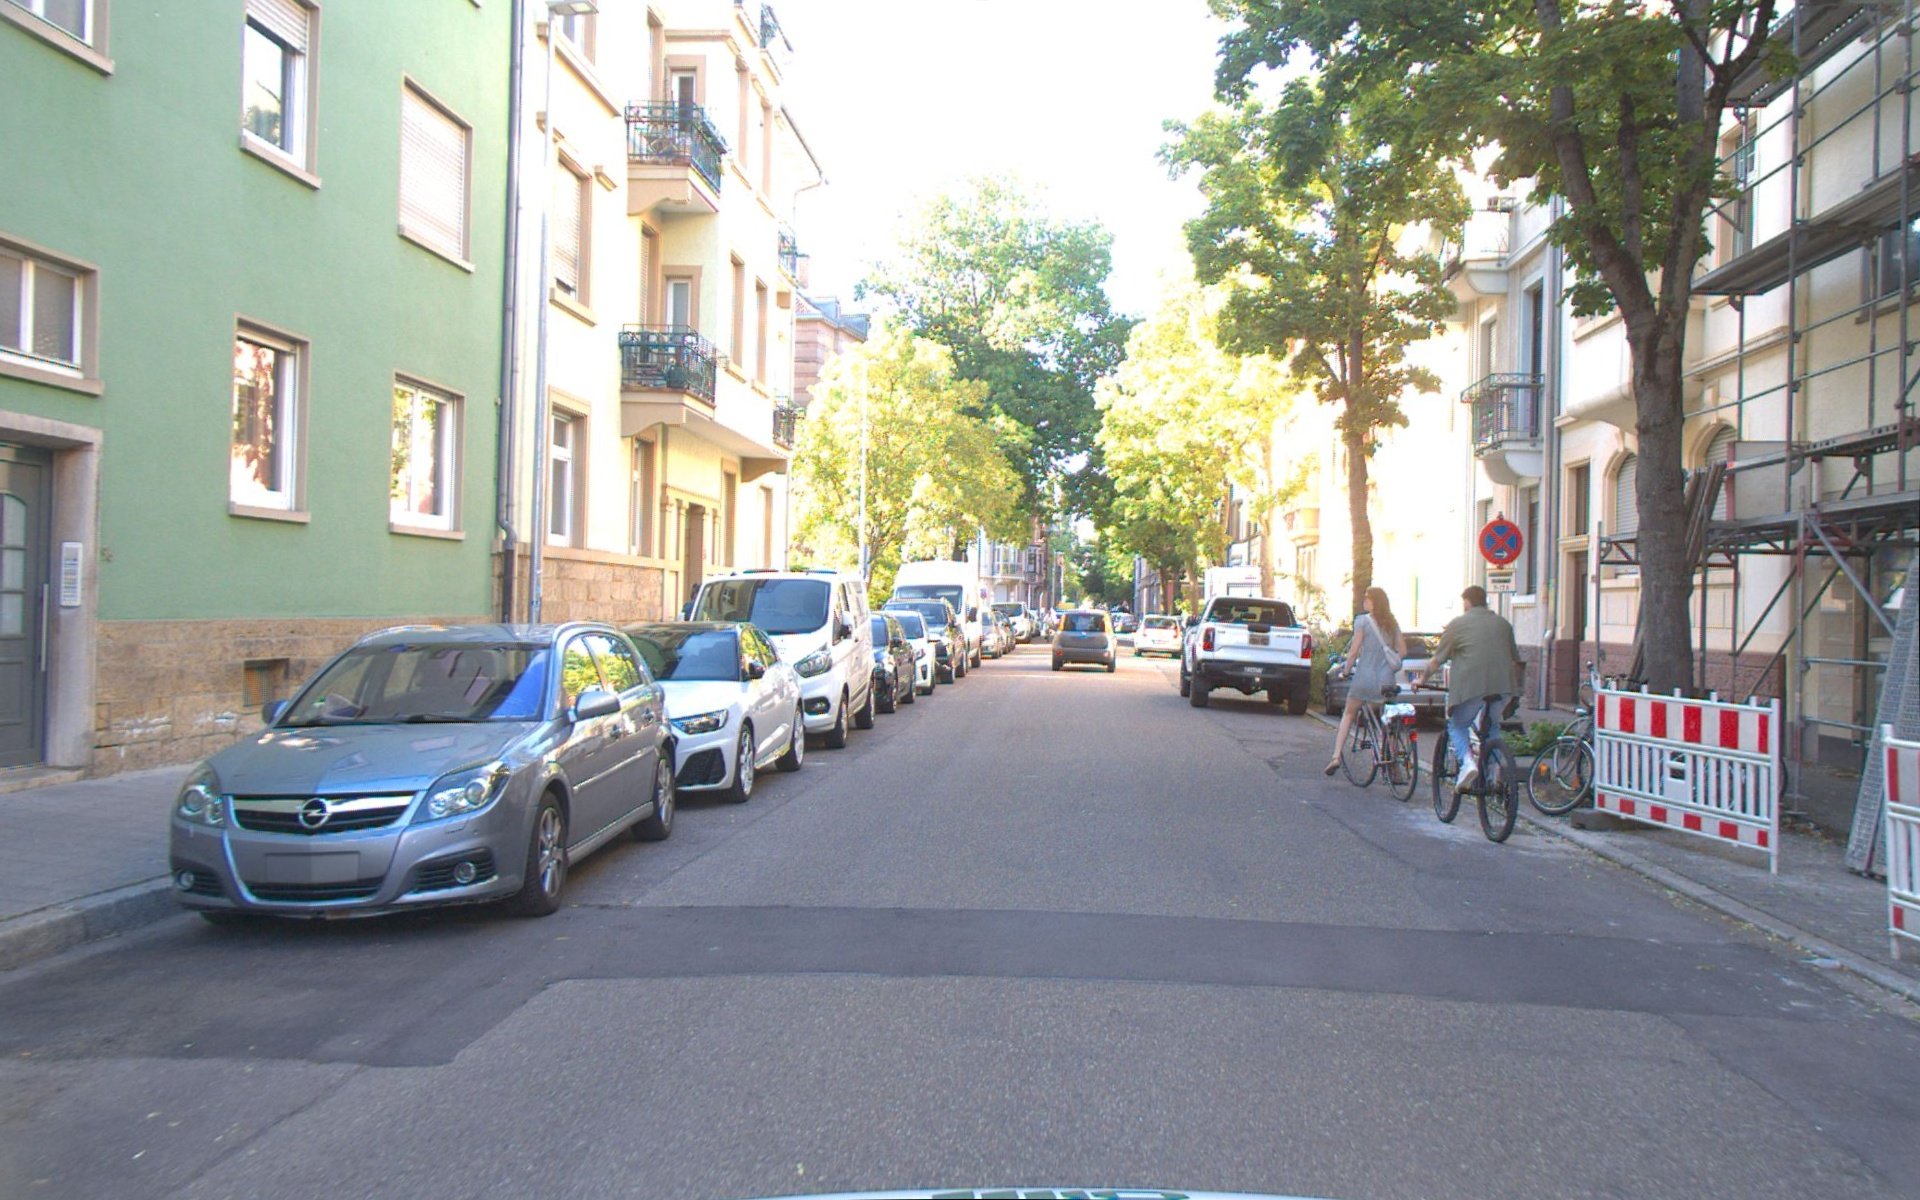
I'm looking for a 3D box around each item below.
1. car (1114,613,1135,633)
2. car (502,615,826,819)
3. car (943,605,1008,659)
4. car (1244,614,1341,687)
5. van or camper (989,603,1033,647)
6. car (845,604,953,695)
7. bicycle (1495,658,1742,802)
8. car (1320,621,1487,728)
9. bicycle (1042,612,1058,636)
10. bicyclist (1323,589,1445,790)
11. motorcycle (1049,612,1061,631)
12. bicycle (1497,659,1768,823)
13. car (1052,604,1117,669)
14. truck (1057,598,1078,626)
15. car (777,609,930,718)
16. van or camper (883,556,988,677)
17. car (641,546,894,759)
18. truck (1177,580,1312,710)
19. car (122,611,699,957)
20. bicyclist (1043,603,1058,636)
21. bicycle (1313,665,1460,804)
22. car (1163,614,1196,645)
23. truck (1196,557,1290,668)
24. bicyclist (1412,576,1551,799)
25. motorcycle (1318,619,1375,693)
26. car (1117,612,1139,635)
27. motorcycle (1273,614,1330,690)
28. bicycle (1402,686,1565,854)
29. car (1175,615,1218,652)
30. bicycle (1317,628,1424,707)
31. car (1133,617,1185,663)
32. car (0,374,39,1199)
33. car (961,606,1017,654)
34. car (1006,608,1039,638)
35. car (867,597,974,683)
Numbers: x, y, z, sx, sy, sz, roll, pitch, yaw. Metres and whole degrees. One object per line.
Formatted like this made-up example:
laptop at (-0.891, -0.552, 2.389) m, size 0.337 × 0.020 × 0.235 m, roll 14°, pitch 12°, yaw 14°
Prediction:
car at (13.273, 1.851, 133.401) m, size 1.628 × 1.531 × 3.759 m, roll 2°, pitch 0°, yaw 6°
car at (-2.395, 0.895, 14.550) m, size 1.794 × 1.488 × 4.365 m, roll -1°, pitch -1°, yaw 3°
car at (0.531, 0.998, 52.593) m, size 1.743 × 1.618 × 4.471 m, roll -1°, pitch 0°, yaw 4°
car at (7.597, 1.118, 38.115) m, size 1.714 × 1.556 × 4.784 m, roll 0°, pitch 0°, yaw 6°
van or camper at (2.473, 1.190, 79.573) m, size 1.881 × 2.014 × 5.464 m, roll -2°, pitch -1°, yaw 4°
car at (-1.080, 0.900, 30.955) m, size 1.601 × 1.579 × 4.090 m, roll 0°, pitch -1°, yaw 4°
bicycle at (5.819, 1.130, 14.728) m, size 1.934 × 1.141 × 0.748 m, roll 2°, pitch 0°, yaw 15°
car at (6.605, 1.057, 25.058) m, size 1.645 × 1.447 × 4.432 m, roll 0°, pitch 0°, yaw 4°
bicycle at (4.442, 1.178, 81.395) m, size 0.651 × 1.095 × 1.686 m, roll 4°, pitch 0°, yaw 4°
bicyclist at (3.819, 0.786, 14.957) m, size 0.700 × 1.718 × 0.980 m, roll 4°, pitch -1°, yaw -4°
motorcycle at (7.365, 1.669, 128.530) m, size 0.683 × 1.486 × 1.749 m, roll 0°, pitch 0°, yaw -5°
bicycle at (5.391, 1.089, 13.306) m, size 1.890 × 1.141 × 0.745 m, roll 2°, pitch 0°, yaw 34°
car at (3.174, 0.898, 42.186) m, size 1.598 × 1.577 × 3.266 m, roll 0°, pitch 0°, yaw 4°
truck at (12.017, 1.331, 184.288) m, size 2.027 × 2.977 × 5.071 m, roll -3°, pitch -1°, yaw 5°
car at (-1.580, 0.924, 26.220) m, size 1.729 × 1.548 × 4.827 m, roll 0°, pitch 0°, yaw 5°
van or camper at (-0.536, 0.404, 41.796) m, size 2.083 × 2.818 × 5.854 m, roll -1°, pitch 0°, yaw 4°
car at (-2.154, 0.584, 20.194) m, size 2.204 × 2.206 × 5.245 m, roll -1°, pitch -1°, yaw 3°
truck at (4.859, 0.723, 28.880) m, size 1.790 × 1.983 × 5.544 m, roll 2°, pitch 0°, yaw 5°
car at (-2.779, 0.833, 9.538) m, size 1.684 × 1.488 × 4.508 m, roll -1°, pitch -1°, yaw 2°
bicyclist at (4.462, 0.960, 81.465) m, size 0.638 × 1.535 × 0.625 m, roll 4°, pitch 0°, yaw 4°
bicycle at (3.807, 1.174, 14.914) m, size 0.692 × 1.063 × 1.857 m, roll 4°, pitch -1°, yaw -3°
car at (11.196, 1.474, 84.616) m, size 1.488 × 1.537 × 3.545 m, roll 1°, pitch 0°, yaw 5°
truck at (8.269, 0.361, 48.857) m, size 2.030 × 3.021 × 6.112 m, roll -1°, pitch 0°, yaw 4°
bicyclist at (3.947, 0.643, 12.583) m, size 0.739 × 1.592 × 0.982 m, roll 3°, pitch 0°, yaw 4°
motorcycle at (8.045, 1.144, 34.518) m, size 0.843 × 1.441 × 2.235 m, roll 2°, pitch 0°, yaw 6°
car at (13.076, 1.809, 128.906) m, size 1.628 × 1.698 × 3.759 m, roll 2°, pitch 0°, yaw 6°
motorcycle at (7.123, 1.066, 34.565) m, size 0.910 × 1.512 × 2.139 m, roll 2°, pitch 0°, yaw 6°
bicycle at (3.929, 1.244, 12.551) m, size 0.723 × 1.078 × 1.858 m, roll 2°, pitch -1°, yaw 4°
car at (9.962, 1.397, 69.826) m, size 1.563 × 1.514 × 3.750 m, roll 0°, pitch -1°, yaw 5°
bicycle at (7.176, 1.171, 28.957) m, size 1.722 × 1.328 × 0.586 m, roll 1°, pitch 0°, yaw 3°
car at (7.246, 1.431, 60.460) m, size 1.644 × 1.571 × 3.802 m, roll 2°, pitch 0°, yaw 4°
car at (-3.175, 0.548, 1.123) m, size 1.734 × 1.875 × 4.417 m, roll -1°, pitch -1°, yaw 20°
car at (1.061, 1.033, 58.779) m, size 1.641 × 1.600 × 4.154 m, roll -2°, pitch 0°, yaw 5°
car at (3.617, 1.328, 95.361) m, size 1.787 × 1.581 × 4.134 m, roll -3°, pitch -1°, yaw 2°
car at (-0.776, 0.824, 36.022) m, size 1.836 × 1.715 × 4.972 m, roll -1°, pitch 0°, yaw 4°
